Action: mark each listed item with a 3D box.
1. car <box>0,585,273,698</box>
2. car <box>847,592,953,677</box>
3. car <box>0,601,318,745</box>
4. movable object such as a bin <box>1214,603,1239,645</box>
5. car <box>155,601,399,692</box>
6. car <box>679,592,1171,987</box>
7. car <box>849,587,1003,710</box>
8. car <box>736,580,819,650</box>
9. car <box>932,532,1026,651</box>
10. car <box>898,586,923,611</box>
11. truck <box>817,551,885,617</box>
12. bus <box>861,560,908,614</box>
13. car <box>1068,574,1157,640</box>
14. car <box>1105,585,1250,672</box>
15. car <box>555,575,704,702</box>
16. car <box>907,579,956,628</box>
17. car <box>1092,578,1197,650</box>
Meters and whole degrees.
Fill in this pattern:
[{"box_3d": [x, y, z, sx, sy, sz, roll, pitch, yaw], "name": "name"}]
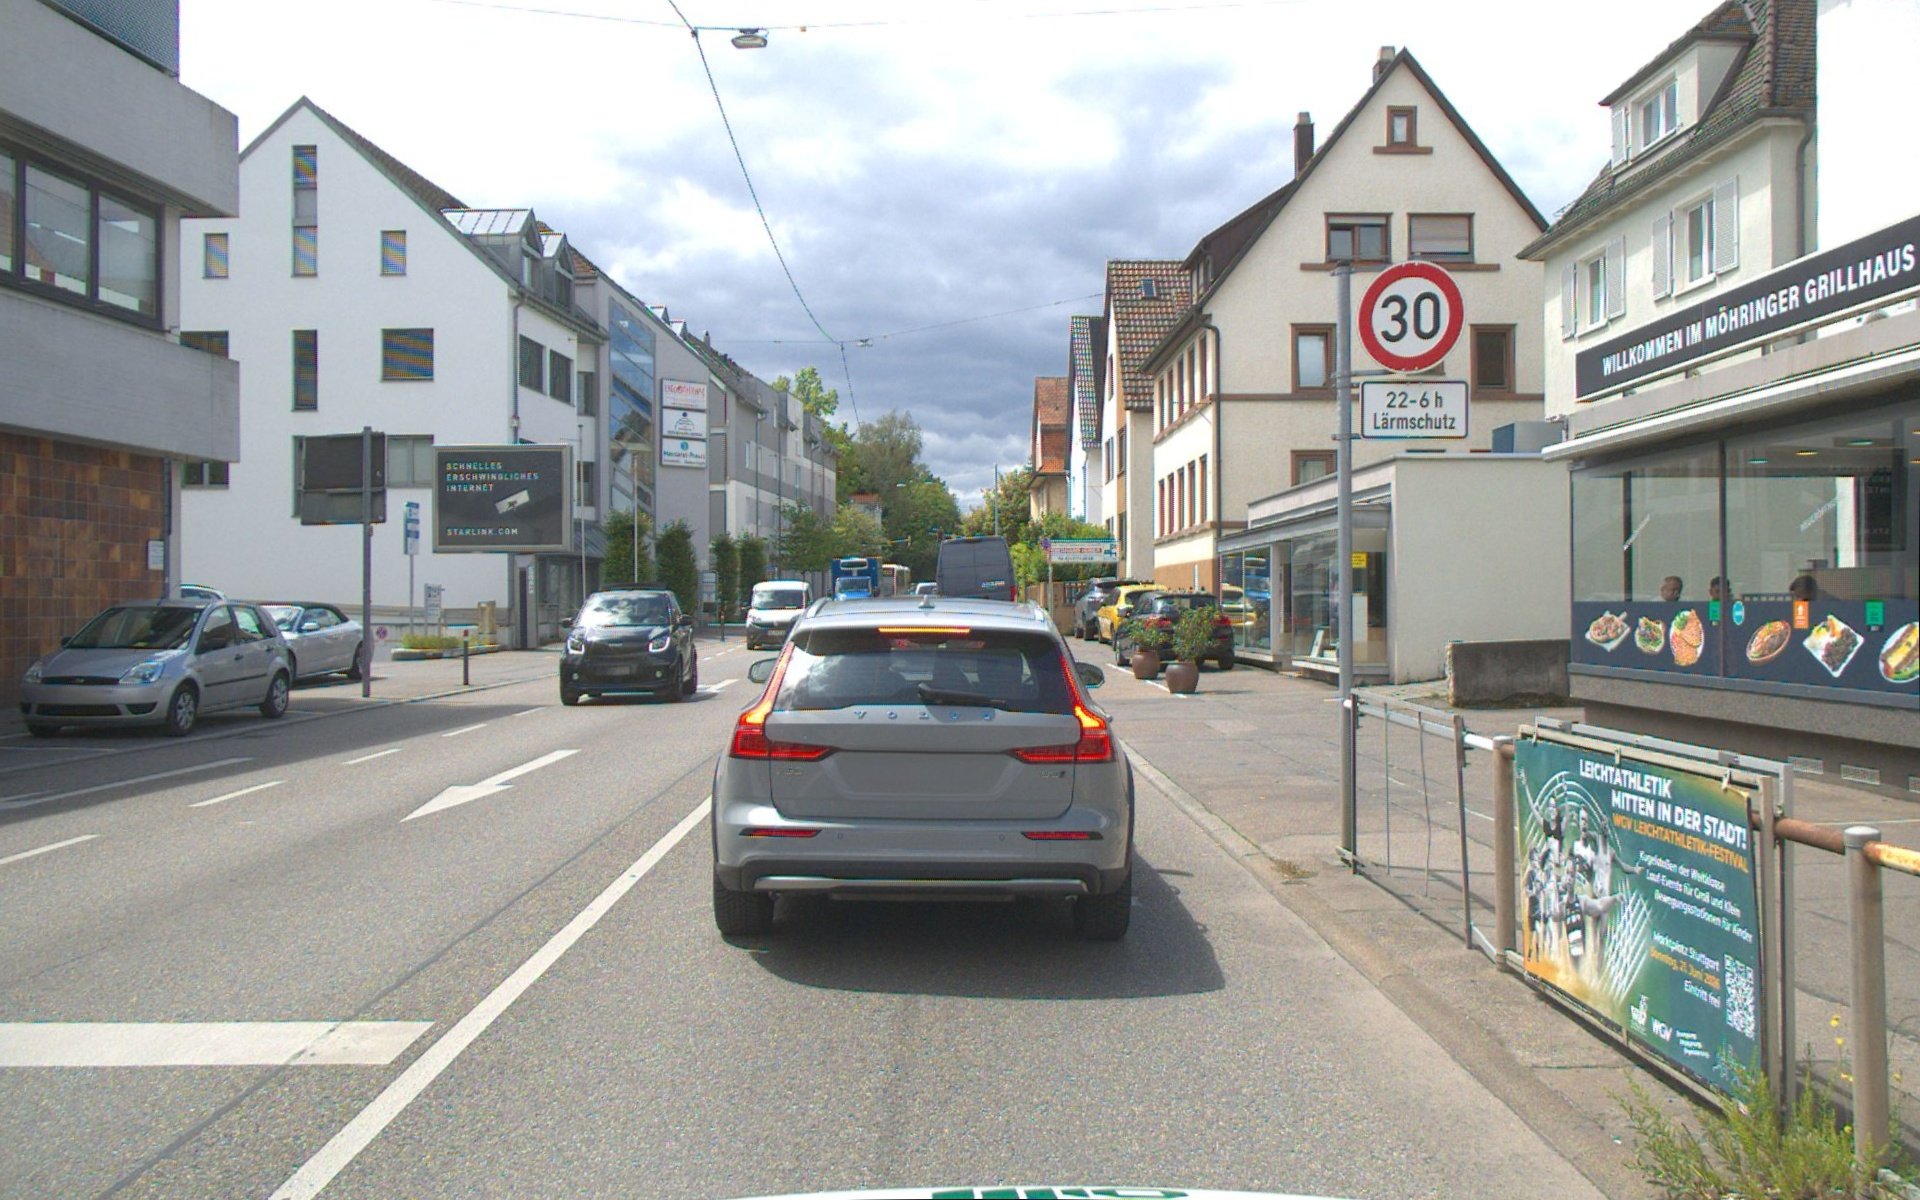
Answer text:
[{"box_3d": [-14.037, 0.639, 28.445, 1.910, 1.647, 4.933, -3, 0, 6], "name": "car"}, {"box_3d": [-1.173, 0.595, 31.125, 1.859, 1.472, 3.966, 0, 0, -3], "name": "car"}, {"box_3d": [-9.164, 0.760, 19.226, 1.686, 1.447, 4.149, 1, 0, 2], "name": "car"}, {"box_3d": [6.070, 0.547, 37.695, 0.490, 0.941, 0.598, -1, 0, 3], "name": "movable object such as a bin"}, {"box_3d": [-11.466, 0.729, 28.184, 1.910, 1.381, 4.857, -1, 0, 3], "name": "car"}, {"box_3d": [-0.098, 0.709, 8.268, 1.857, 1.479, 3.969, 0, 0, 1], "name": "car"}, {"box_3d": [-0.387, 0.575, 22.039, 1.857, 1.472, 3.969, 0, 0, 1], "name": "car"}, {"box_3d": [-5.079, 0.391, 46.545, 1.906, 1.852, 4.277, -1, 0, -1], "name": "car"}, {"box_3d": [0.419, -0.218, 42.702, 2.207, 2.844, 5.568, -1, 0, -1], "name": "car"}, {"box_3d": [-4.413, -0.105, 148.167, 2.063, 2.158, 4.764, -2, 0, -1], "name": "car"}, {"box_3d": [-5.407, -0.779, 83.315, 2.795, 3.147, 8.089, -1, 0, 0], "name": "truck"}, {"box_3d": [-4.698, -0.815, 104.470, 2.627, 3.219, 10.182, -1, 0, -1], "name": "bus"}, {"box_3d": [4.054, 0.164, 44.534, 1.823, 1.640, 4.585, -2, 0, -1], "name": "car"}, {"box_3d": [4.014, 0.482, 31.237, 1.929, 1.473, 4.533, -1, 0, -3], "name": "car"}, {"box_3d": [-4.638, 0.509, 23.538, 1.643, 1.664, 2.832, -1, 0, -3], "name": "car"}, {"box_3d": [-1.209, 0.150, 71.880, 1.952, 2.049, 4.001, 0, 0, 1], "name": "car"}, {"box_3d": [4.364, 0.299, 39.752, 1.839, 1.472, 4.306, -1, 3, -3], "name": "car"}]
